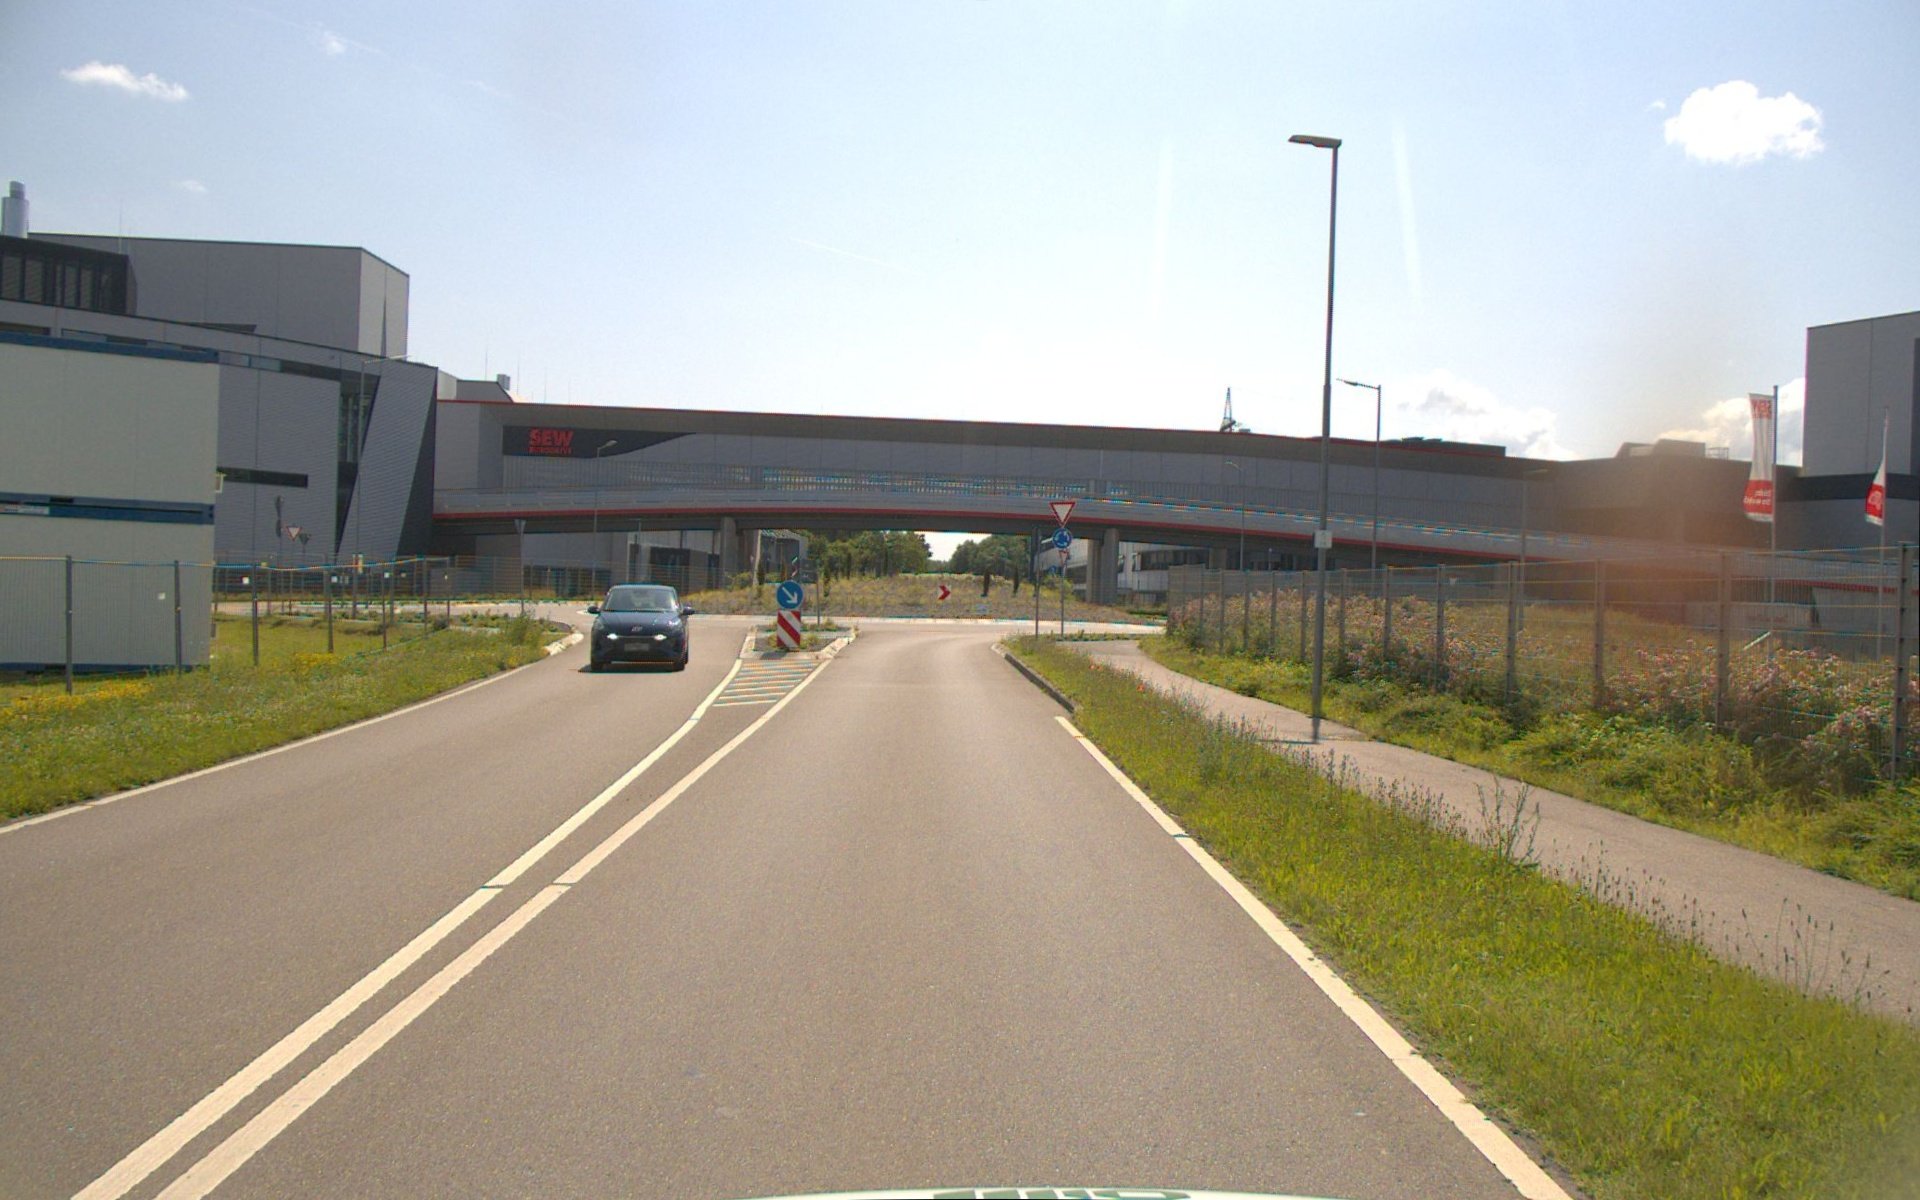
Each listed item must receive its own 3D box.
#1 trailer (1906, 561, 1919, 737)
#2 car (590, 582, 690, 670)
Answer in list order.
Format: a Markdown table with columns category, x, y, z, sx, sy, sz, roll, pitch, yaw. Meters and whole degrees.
| category | x | y | z | sx | sy | sz | roll | pitch | yaw |
| --- | --- | --- | --- | --- | --- | --- | --- | --- | --- |
| trailer | 30.952 | 1.347 | 45.707 | 13.898 | 4.515 | 2.733 | 1 | 0 | -35 |
| car | -5.853 | 0.456 | 30.590 | 1.671 | 1.508 | 3.991 | 1 | 0 | -9 |
